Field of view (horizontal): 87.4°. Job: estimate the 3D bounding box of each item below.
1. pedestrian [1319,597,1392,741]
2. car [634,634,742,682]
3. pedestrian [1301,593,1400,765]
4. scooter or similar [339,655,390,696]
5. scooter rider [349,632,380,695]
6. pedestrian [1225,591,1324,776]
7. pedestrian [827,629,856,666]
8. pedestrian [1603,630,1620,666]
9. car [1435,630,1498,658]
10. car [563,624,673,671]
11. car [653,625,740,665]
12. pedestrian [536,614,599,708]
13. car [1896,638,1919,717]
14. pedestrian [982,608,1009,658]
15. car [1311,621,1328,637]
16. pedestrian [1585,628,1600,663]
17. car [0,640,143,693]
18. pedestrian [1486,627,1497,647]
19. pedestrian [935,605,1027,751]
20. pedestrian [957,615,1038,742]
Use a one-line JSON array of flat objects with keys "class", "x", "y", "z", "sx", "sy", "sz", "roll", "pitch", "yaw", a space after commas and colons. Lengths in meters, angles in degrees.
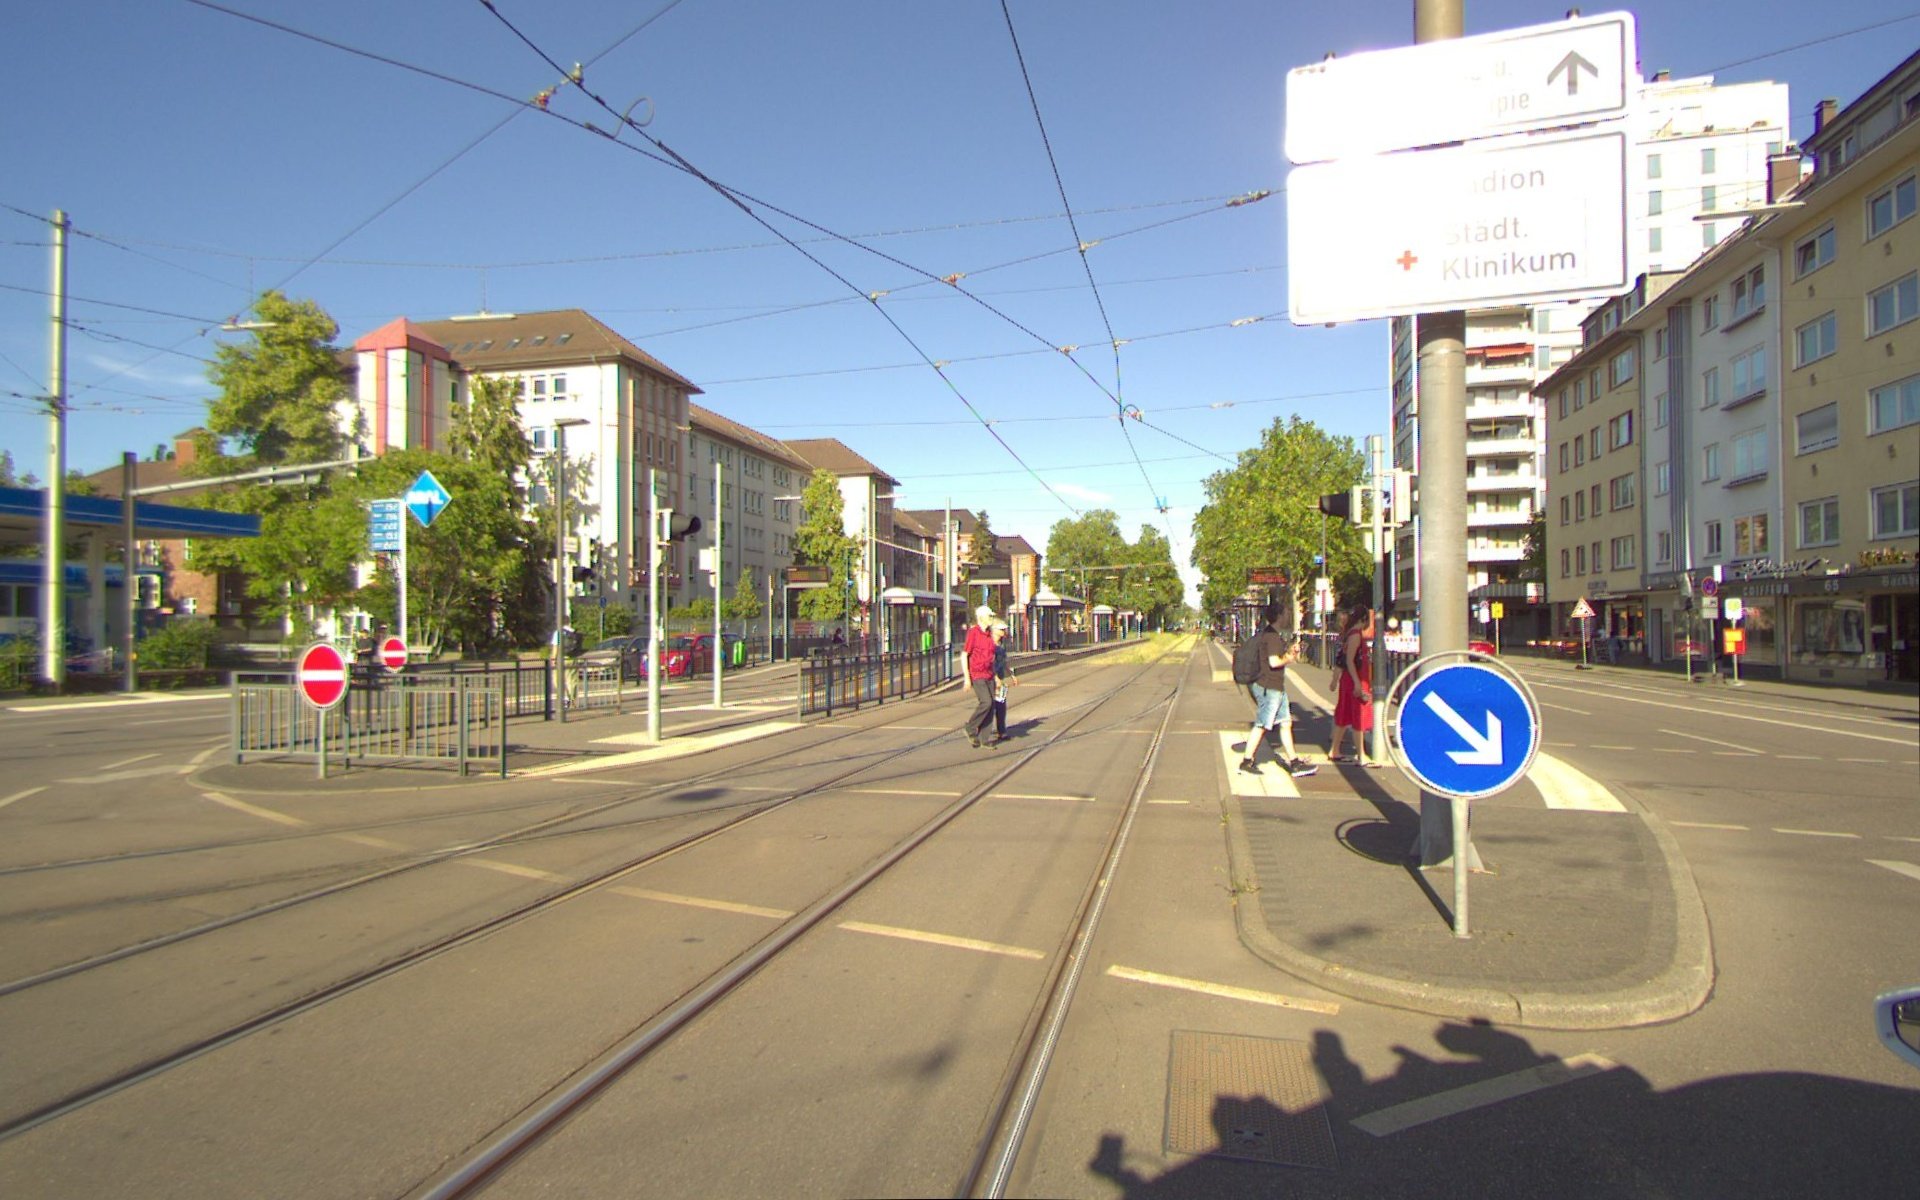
[{"class": "pedestrian", "x": 5.023, "y": 0.857, "z": 12.760, "sx": 0.808, "sy": 1.756, "sz": 0.789, "roll": -1, "pitch": -2, "yaw": 22}, {"class": "car", "x": -8.979, "y": 1.891, "z": 33.496, "sx": 1.682, "sy": 1.505, "sz": 4.222, "roll": -1, "pitch": -2, "yaw": 13}, {"class": "pedestrian", "x": 4.206, "y": 0.825, "z": 10.805, "sx": 0.888, "sy": 1.756, "sz": 0.840, "roll": -1, "pitch": -2, "yaw": 27}, {"class": "scooter or similar", "x": -18.393, "y": 2.327, "z": 31.052, "sx": 0.455, "sy": 1.198, "sz": 1.477, "roll": -1, "pitch": -2, "yaw": 14}, {"class": "scooter rider", "x": -18.398, "y": 1.952, "z": 31.051, "sx": 0.455, "sy": 1.926, "sz": 0.692, "roll": -1, "pitch": -2, "yaw": 14}, {"class": "pedestrian", "x": 3.091, "y": 0.809, "z": 9.921, "sx": 0.785, "sy": 1.756, "sz": 0.654, "roll": -1, "pitch": -2, "yaw": 5}, {"class": "pedestrian", "x": -4.781, "y": 1.915, "z": 40.490, "sx": 1.023, "sy": 1.439, "sz": 0.579, "roll": -1, "pitch": -2, "yaw": 9}, {"class": "pedestrian", "x": 28.682, "y": 2.101, "z": 44.221, "sx": 0.498, "sy": 1.582, "sz": 0.466, "roll": 0, "pitch": -1, "yaw": 16}, {"class": "car", "x": 26.530, "y": 2.289, "z": 52.766, "sx": 1.902, "sy": 1.449, "sz": 4.003, "roll": 0, "pitch": -2, "yaw": 11}, {"class": "car", "x": -11.790, "y": 1.624, "z": 34.923, "sx": 1.707, "sy": 1.539, "sz": 4.002, "roll": -1, "pitch": -2, "yaw": 15}, {"class": "car", "x": -10.709, "y": 1.820, "z": 41.145, "sx": 1.707, "sy": 1.539, "sz": 4.002, "roll": -1, "pitch": -2, "yaw": 15}, {"class": "pedestrian", "x": -7.455, "y": 1.148, "z": 19.105, "sx": 0.807, "sy": 1.756, "sz": 0.789, "roll": -1, "pitch": -2, "yaw": 12}, {"class": "car", "x": 18.311, "y": 1.380, "z": 16.761, "sx": 1.709, "sy": 1.459, "sz": 4.658, "roll": 0, "pitch": -2, "yaw": 11}, {"class": "pedestrian", "x": 1.138, "y": 1.066, "z": 32.410, "sx": 0.586, "sy": 1.589, "sz": 0.729, "roll": -1, "pitch": -2, "yaw": 34}, {"class": "car", "x": 46.095, "y": 3.678, "z": 128.839, "sx": 1.960, "sy": 2.040, "sz": 4.001, "roll": -1, "pitch": -2, "yaw": 19}, {"class": "pedestrian", "x": 30.188, "y": 2.151, "z": 47.921, "sx": 0.462, "sy": 1.665, "sz": 0.508, "roll": 0, "pitch": -1, "yaw": 16}, {"class": "car", "x": -28.391, "y": 2.039, "z": 31.450, "sx": 1.682, "sy": 1.505, "sz": 4.222, "roll": -1, "pitch": -2, "yaw": 13}, {"class": "pedestrian", "x": 42.811, "y": 2.979, "z": 80.885, "sx": 0.664, "sy": 1.663, "sz": 0.578, "roll": -1, "pitch": -1, "yaw": 21}, {"class": "pedestrian", "x": 0.268, "y": 0.954, "z": 12.599, "sx": 0.834, "sy": 1.746, "sz": 0.822, "roll": -1, "pitch": -2, "yaw": 36}, {"class": "pedestrian", "x": 0.523, "y": 1.044, "z": 13.732, "sx": 0.794, "sy": 1.652, "sz": 0.863, "roll": -1, "pitch": -2, "yaw": 31}]
